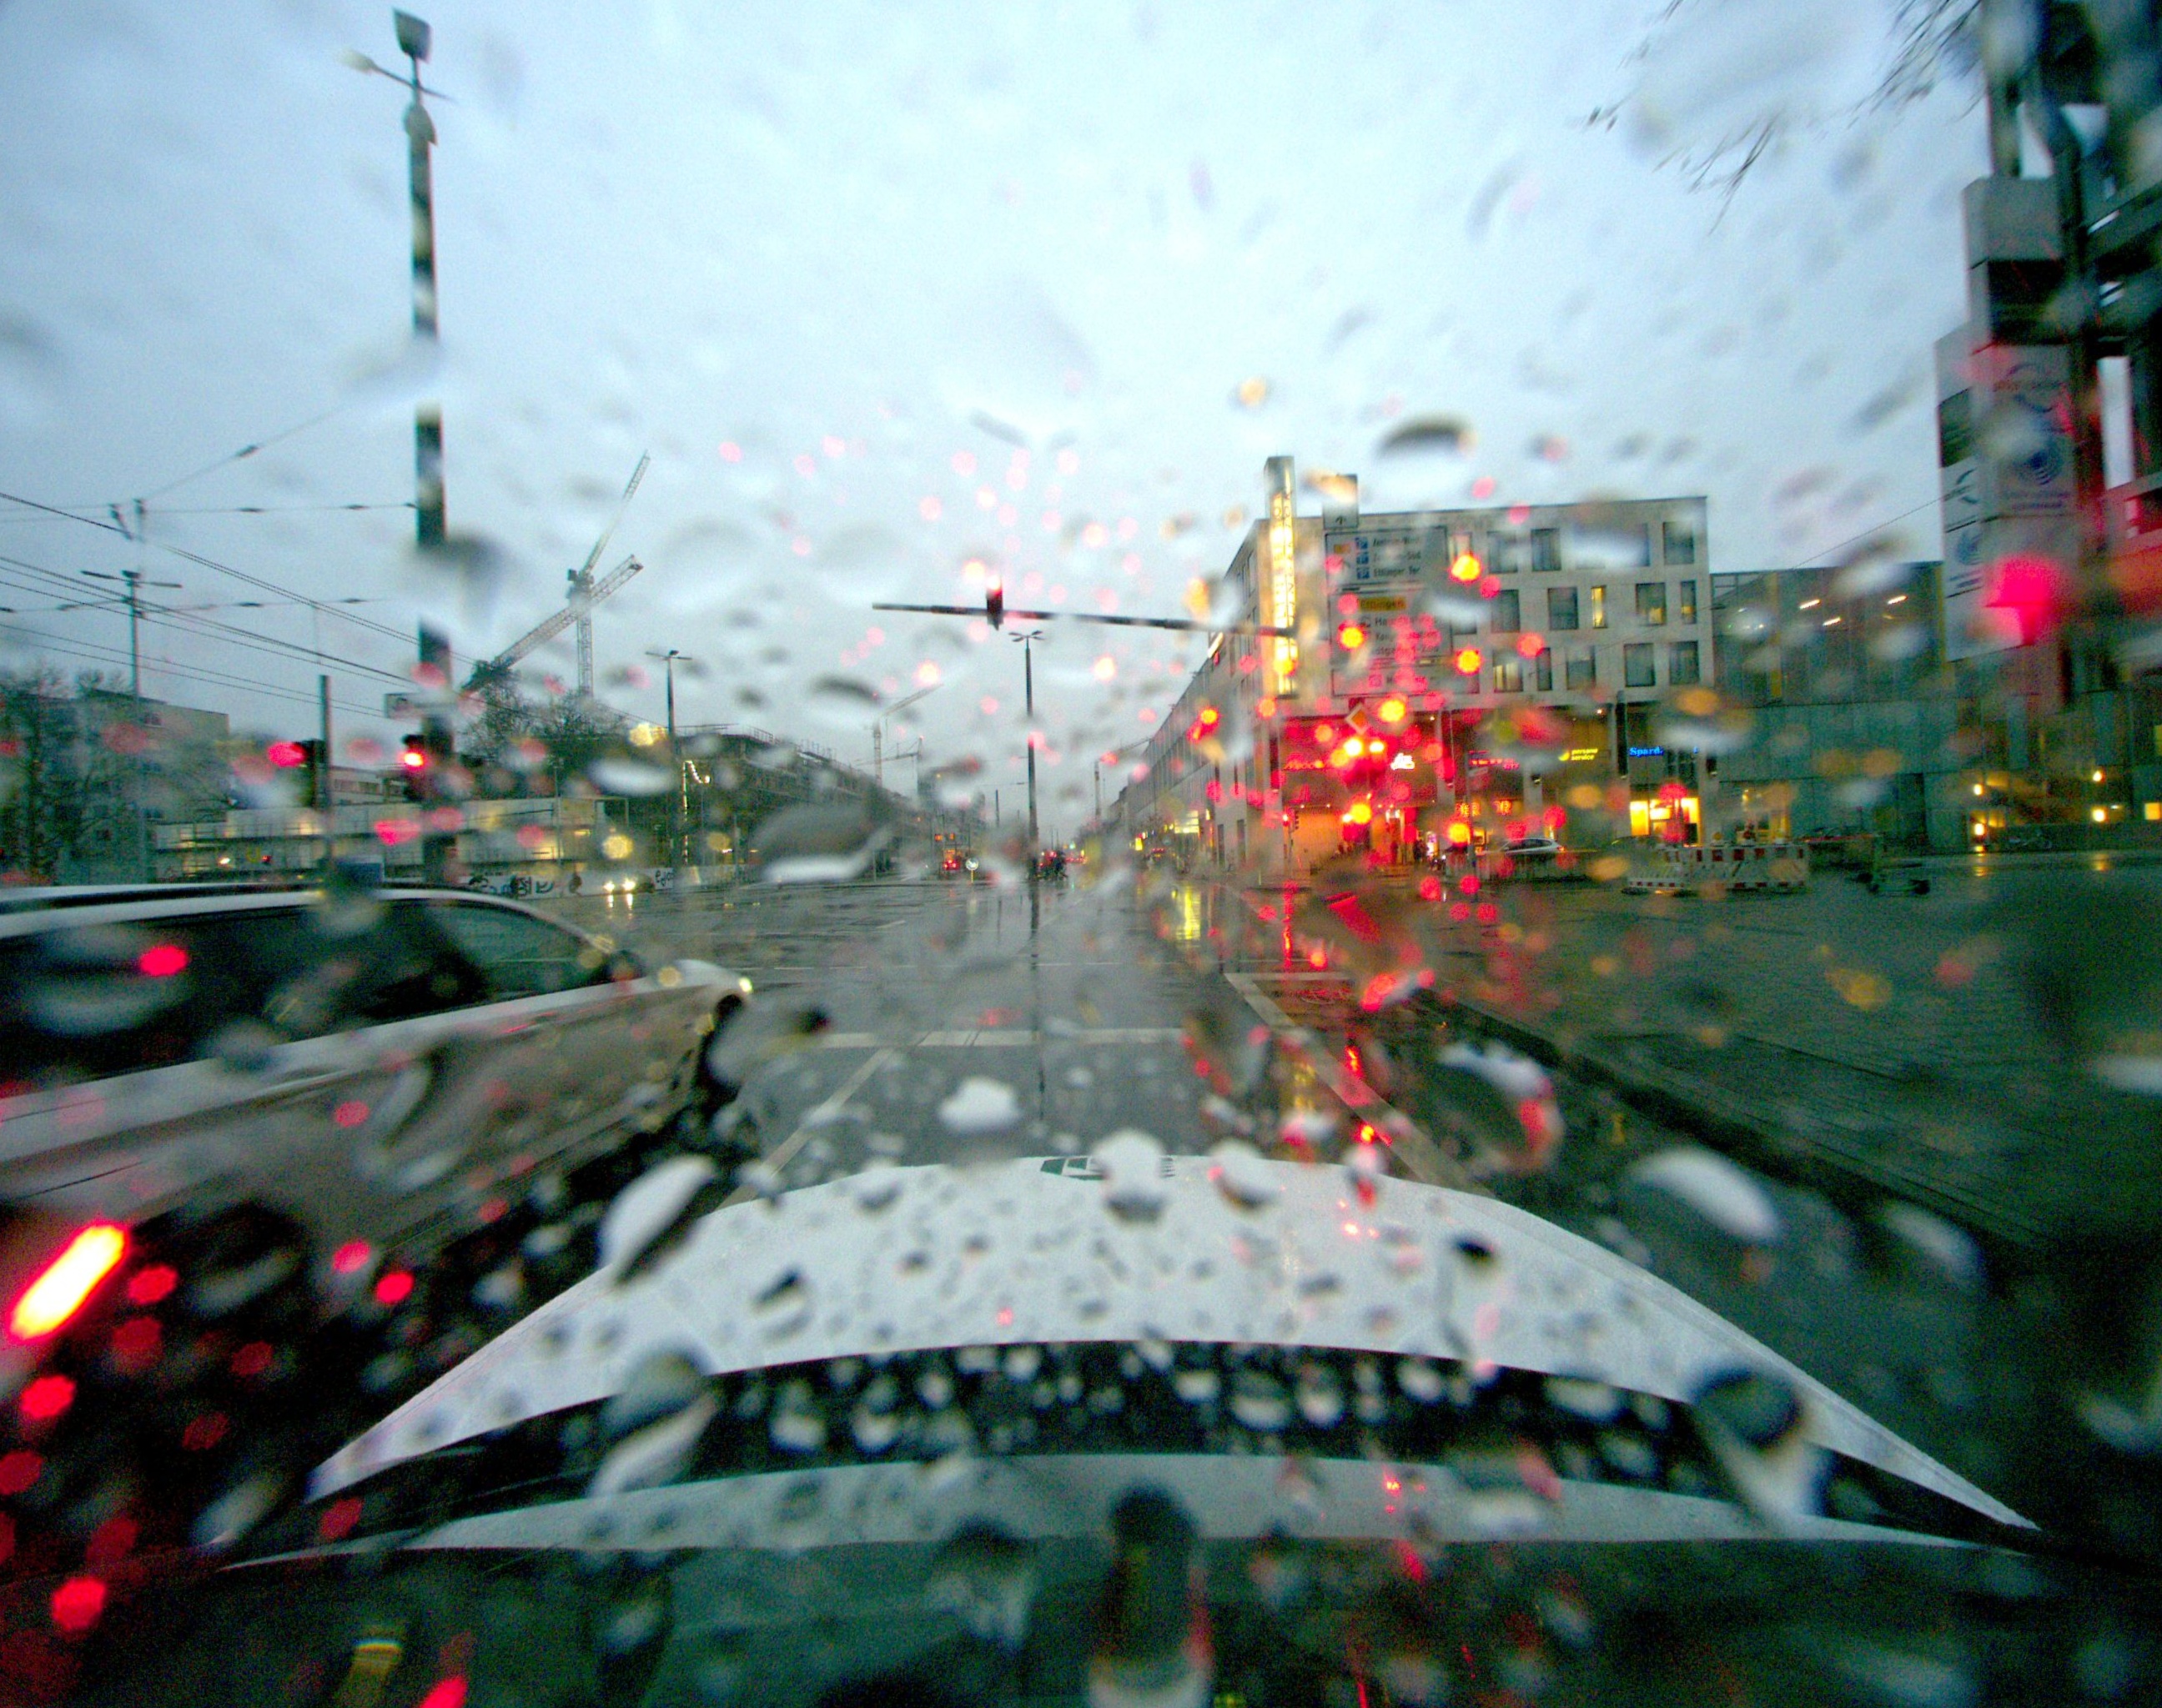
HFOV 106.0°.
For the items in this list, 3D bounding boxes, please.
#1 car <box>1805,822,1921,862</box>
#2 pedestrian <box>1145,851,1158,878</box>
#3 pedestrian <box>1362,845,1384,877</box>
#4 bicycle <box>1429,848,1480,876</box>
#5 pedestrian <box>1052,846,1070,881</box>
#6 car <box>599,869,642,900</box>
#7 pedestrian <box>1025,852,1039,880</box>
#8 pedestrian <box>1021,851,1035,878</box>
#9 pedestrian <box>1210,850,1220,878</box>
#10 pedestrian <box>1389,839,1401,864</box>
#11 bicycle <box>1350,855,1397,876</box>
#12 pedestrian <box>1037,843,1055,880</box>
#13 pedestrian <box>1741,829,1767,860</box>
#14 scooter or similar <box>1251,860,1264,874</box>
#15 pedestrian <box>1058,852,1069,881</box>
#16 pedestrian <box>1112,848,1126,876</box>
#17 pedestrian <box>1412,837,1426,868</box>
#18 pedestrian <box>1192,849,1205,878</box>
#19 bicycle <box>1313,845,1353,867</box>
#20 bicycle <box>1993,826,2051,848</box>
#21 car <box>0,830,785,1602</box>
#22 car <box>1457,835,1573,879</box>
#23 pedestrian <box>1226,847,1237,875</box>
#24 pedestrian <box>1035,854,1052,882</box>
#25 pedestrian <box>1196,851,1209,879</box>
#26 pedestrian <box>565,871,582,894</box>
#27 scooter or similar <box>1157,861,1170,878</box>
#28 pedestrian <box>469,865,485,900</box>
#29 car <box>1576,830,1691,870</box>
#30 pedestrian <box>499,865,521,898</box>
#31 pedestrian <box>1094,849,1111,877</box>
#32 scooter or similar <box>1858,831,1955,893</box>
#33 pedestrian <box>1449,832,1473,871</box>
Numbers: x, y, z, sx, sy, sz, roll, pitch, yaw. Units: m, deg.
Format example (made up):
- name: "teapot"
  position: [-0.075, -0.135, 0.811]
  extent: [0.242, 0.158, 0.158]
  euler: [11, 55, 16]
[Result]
- name: "car"
  position: [34.952, -0.505, 36.457]
  extent: [3.558, 1.582, 1.676]
  euler: [-2, -1, -1]
- name: "pedestrian"
  position: [4.409, 0.673, 50.905]
  extent: [0.736, 1.667, 0.402]
  euler: [-2, -1, 14]
- name: "pedestrian"
  position: [14.528, 0.352, 40.494]
  extent: [0.812, 1.570, 0.536]
  euler: [-2, -1, -2]
- name: "bicycle"
  position: [15.706, 0.341, 34.294]
  extent: [1.831, 1.093, 0.620]
  euler: [-2, -1, 17]
- name: "pedestrian"
  position: [-1.169, 0.536, 47.477]
  extent: [0.781, 2.013, 0.606]
  euler: [-2, -1, -36]
- name: "car"
  position: [-33.367, 2.174, 59.092]
  extent: [1.760, 2.013, 3.977]
  euler: [-2, 0, -16]
- name: "pedestrian"
  position: [-2.889, 0.729, 48.145]
  extent: [0.704, 1.619, 0.613]
  euler: [-2, -1, -1]
- name: "pedestrian"
  position: [-3.236, 0.648, 49.770]
  extent: [0.703, 1.619, 0.681]
  euler: [-2, -1, 3]
- name: "pedestrian"
  position: [8.750, 0.654, 53.240]
  extent: [0.510, 1.760, 0.374]
  euler: [-2, -1, 2]
- name: "pedestrian"
  position: [21.377, -0.178, 55.472]
  extent: [0.530, 1.718, 0.505]
  euler: [-3, -1, 39]
- name: "bicycle"
  position: [14.538, 0.582, 40.475]
  extent: [2.123, 0.991, 0.541]
  euler: [-1, -1, -2]
- name: "pedestrian"
  position: [-2.003, 0.413, 46.487]
  extent: [0.691, 2.087, 0.606]
  euler: [-2, -1, -38]
- name: "pedestrian"
  position: [36.449, -0.497, 44.118]
  extent: [0.791, 1.631, 0.709]
  euler: [-1, -1, 2]
- name: "scooter or similar"
  position: [11.733, 0.843, 54.084]
  extent: [0.738, 0.916, 0.401]
  euler: [-2, 0, 3]
- name: "pedestrian"
  position: [-1.097, 0.793, 50.365]
  extent: [0.617, 1.746, 0.612]
  euler: [-2, -1, -3]
- name: "pedestrian"
  position: [2.345, 0.506, 50.141]
  extent: [0.839, 1.688, 0.678]
  euler: [-2, -1, 3]
- name: "pedestrian"
  position: [18.485, -0.068, 44.517]
  extent: [0.530, 1.685, 0.552]
  euler: [-3, -1, 39]
- name: "pedestrian"
  position: [7.403, 0.602, 51.280]
  extent: [0.700, 1.760, 0.652]
  euler: [-2, 0, 2]
- name: "bicycle"
  position: [16.363, 0.153, 52.943]
  extent: [2.420, 1.329, 0.634]
  euler: [-2, 0, -3]
- name: "bicycle"
  position: [48.961, -0.876, 42.423]
  extent: [0.613, 1.033, 2.138]
  euler: [-2, 0, 4]
- name: "car"
  position: [-3.077, 0.754, 3.206]
  extent: [1.903, 1.520, 4.924]
  euler: [-2, 0, 1]
- name: "car"
  position: [19.514, 0.140, 36.771]
  extent: [4.282, 1.761, 1.709]
  euler: [-2, 0, 5]
- name: "pedestrian"
  position: [9.682, 0.444, 52.429]
  extent: [0.615, 1.760, 0.482]
  euler: [-2, -1, 2]
- name: "pedestrian"
  position: [-2.238, 0.856, 48.516]
  extent: [0.808, 1.619, 0.542]
  euler: [-3, -1, 39]
- name: "pedestrian"
  position: [7.525, 0.678, 50.523]
  extent: [0.700, 1.760, 0.668]
  euler: [-2, 0, 2]
- name: "pedestrian"
  position: [-33.667, 1.879, 54.013]
  extent: [0.645, 1.529, 0.793]
  euler: [-2, -1, -12]
- name: "scooter or similar"
  position: [5.142, 0.976, 50.732]
  extent: [0.736, 0.993, 0.402]
  euler: [-2, 0, 14]
- name: "pedestrian"
  position: [-36.139, 1.704, 48.713]
  extent: [0.507, 2.014, 0.638]
  euler: [-3, -3, -8]
- name: "car"
  position: [24.951, -0.152, 36.840]
  extent: [4.037, 1.582, 1.676]
  euler: [-2, -1, -1]
- name: "pedestrian"
  position: [-34.970, 1.681, 49.884]
  extent: [0.792, 2.014, 0.745]
  euler: [-2, -3, -8]
- name: "pedestrian"
  position: [1.310, 0.551, 49.291]
  extent: [0.825, 1.679, 0.621]
  euler: [-2, -1, 11]
- name: "scooter or similar"
  position: [15.940, 0.149, 15.762]
  extent: [0.603, 1.130, 1.236]
  euler: [-2, 0, 2]
- name: "pedestrian"
  position: [15.963, -0.098, 34.204]
  extent: [0.774, 1.595, 0.616]
  euler: [-2, -1, 17]
